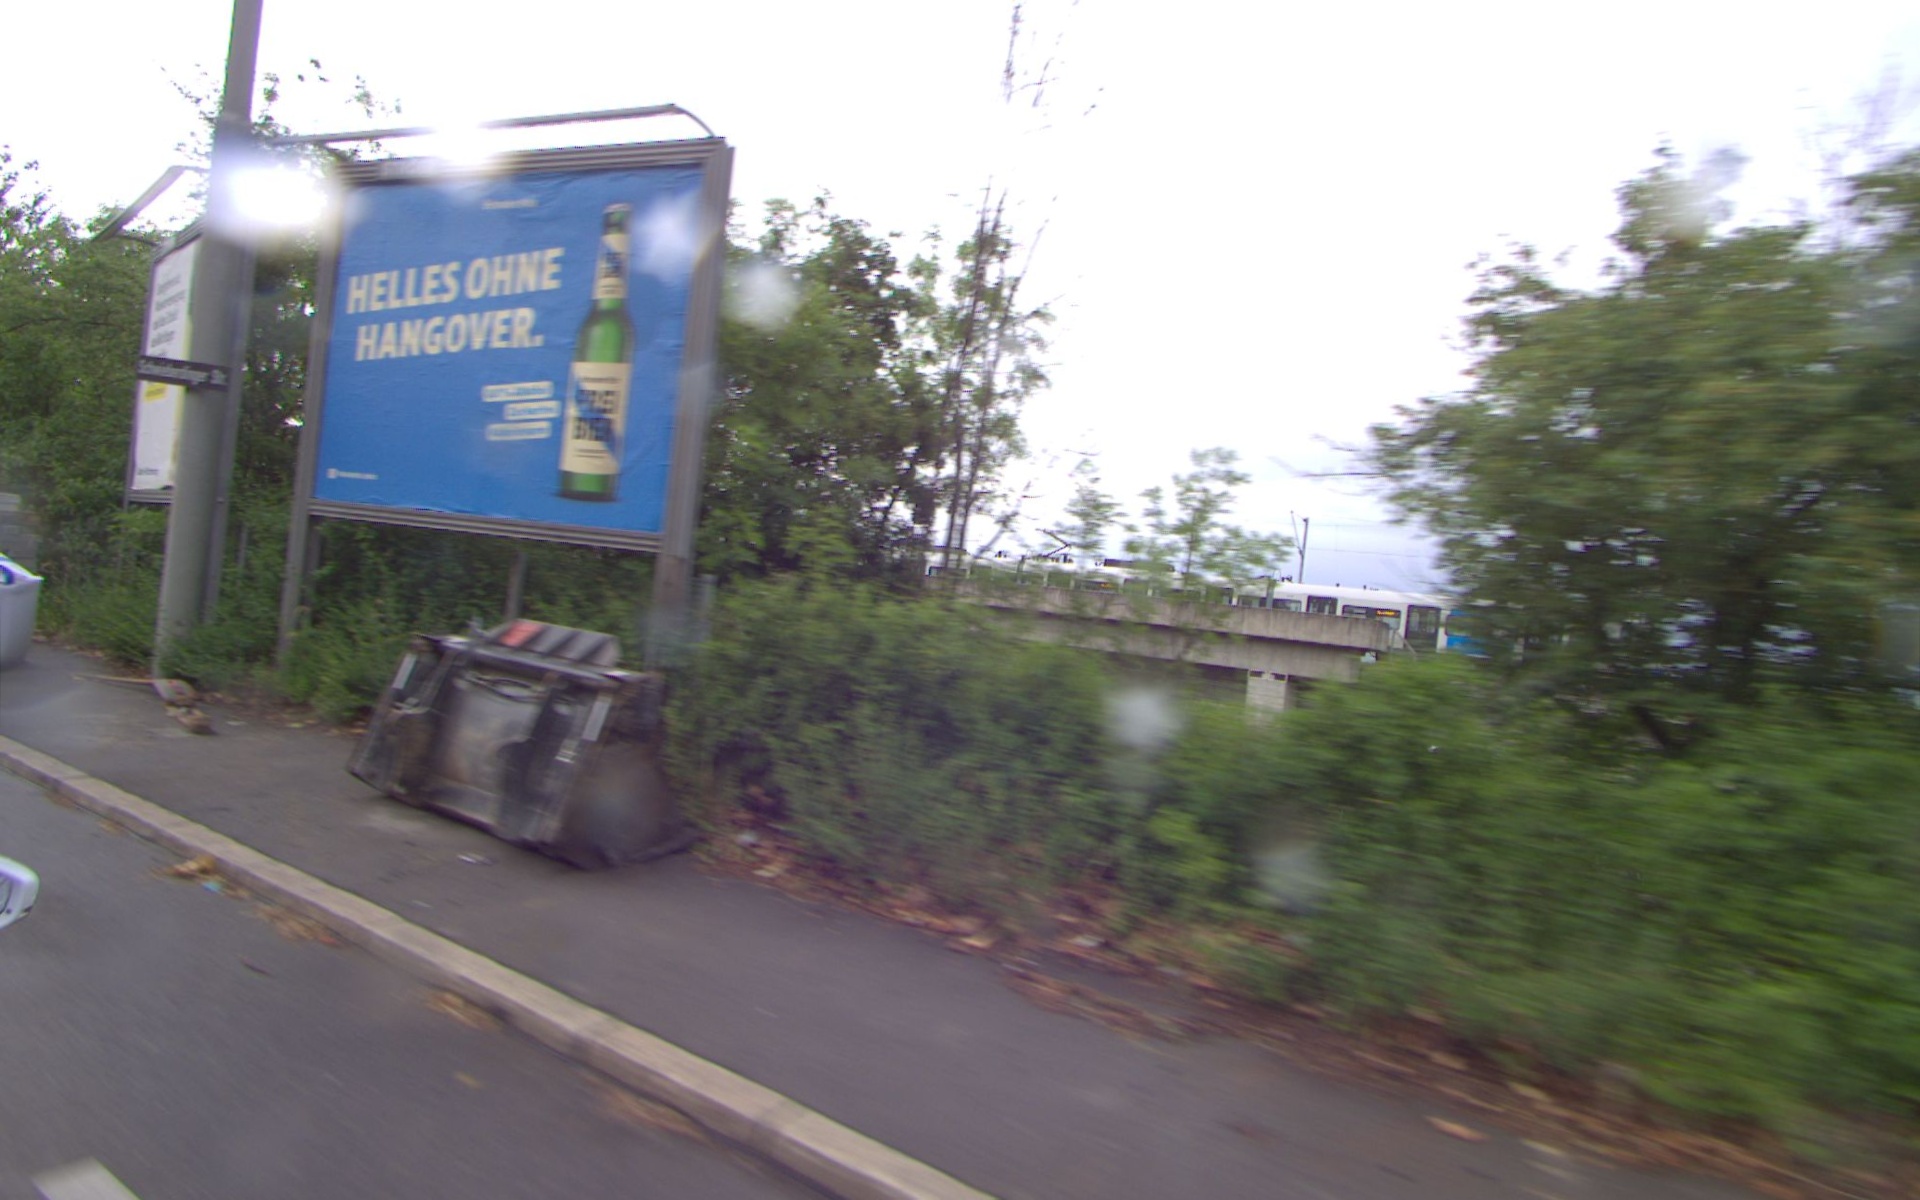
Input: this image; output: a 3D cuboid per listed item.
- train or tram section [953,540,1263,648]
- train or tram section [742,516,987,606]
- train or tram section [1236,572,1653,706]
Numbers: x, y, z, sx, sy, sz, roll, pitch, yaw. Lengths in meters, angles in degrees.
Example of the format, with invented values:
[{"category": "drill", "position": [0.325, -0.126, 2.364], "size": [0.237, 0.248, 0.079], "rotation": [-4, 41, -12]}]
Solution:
[{"category": "train or tram section", "position": [8.338, -0.560, 60.233], "size": [18.174, 3.875, 3.206], "rotation": [9, -1, 31]}, {"category": "train or tram section", "position": [-7.007, -2.876, 69.600], "size": [18.174, 3.875, 3.206], "rotation": [9, -1, 31]}, {"category": "train or tram section", "position": [23.636, 1.766, 50.854], "size": [18.174, 3.875, 3.206], "rotation": [9, -1, 31]}]
